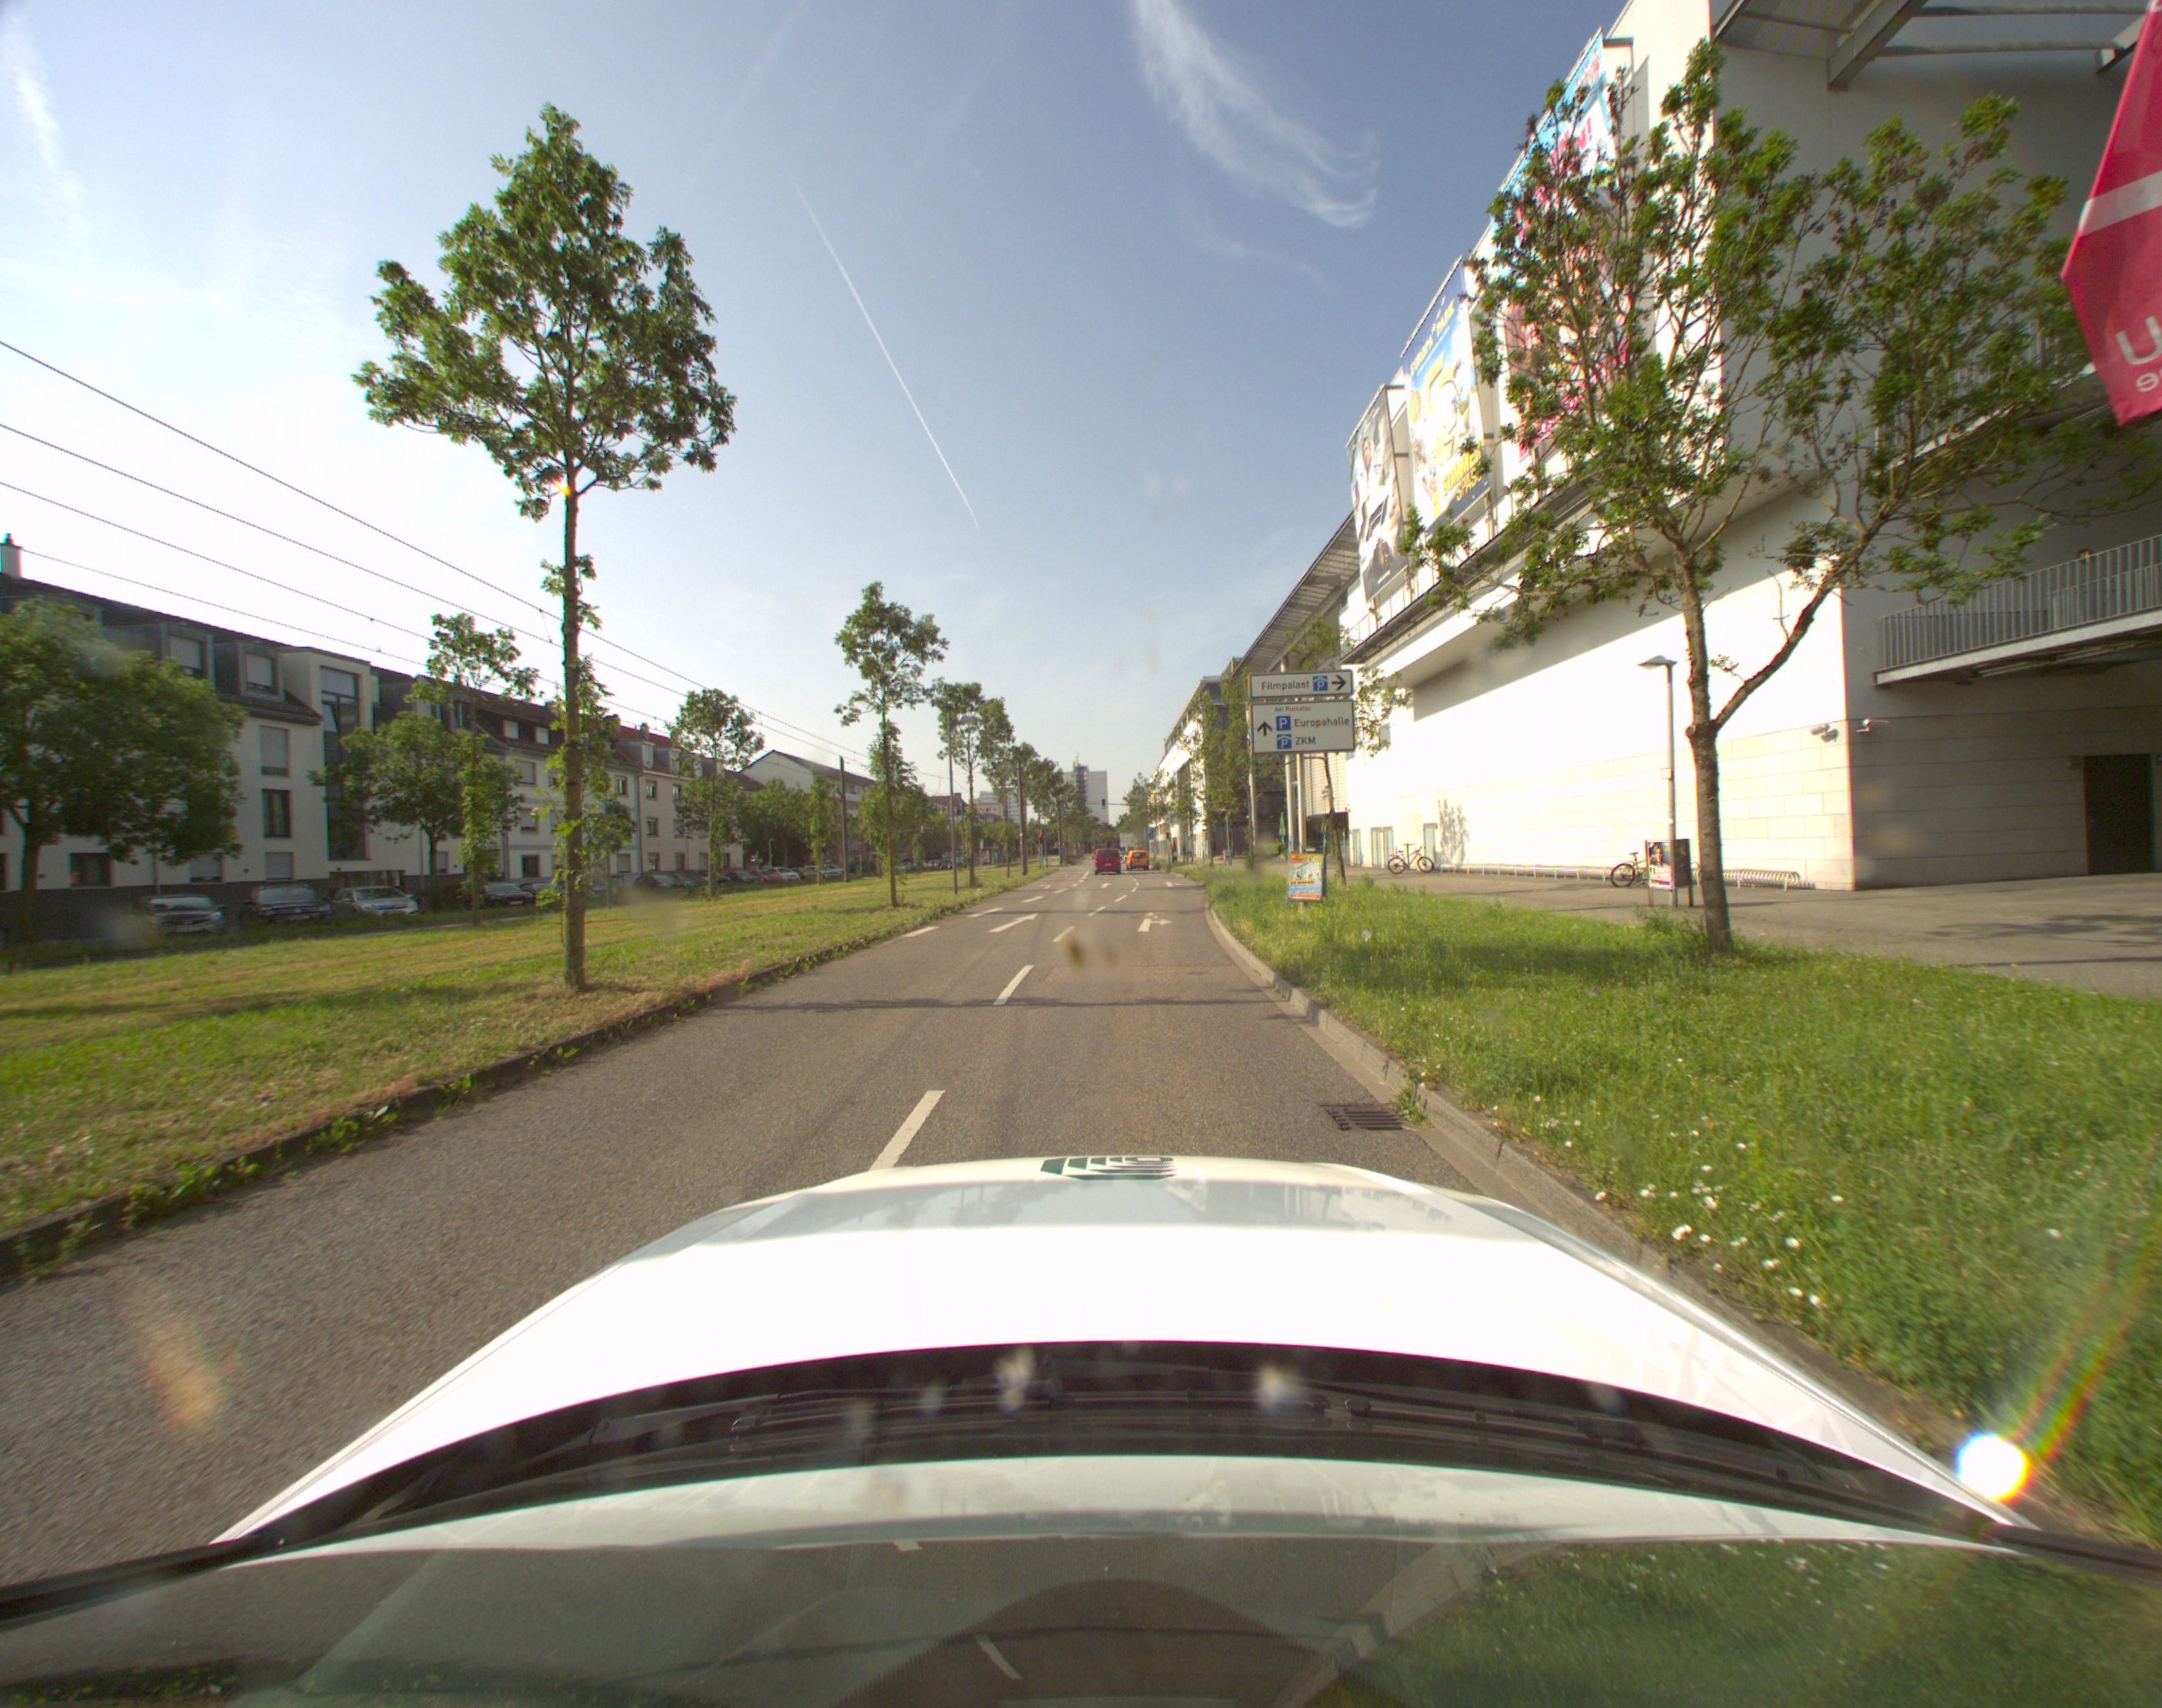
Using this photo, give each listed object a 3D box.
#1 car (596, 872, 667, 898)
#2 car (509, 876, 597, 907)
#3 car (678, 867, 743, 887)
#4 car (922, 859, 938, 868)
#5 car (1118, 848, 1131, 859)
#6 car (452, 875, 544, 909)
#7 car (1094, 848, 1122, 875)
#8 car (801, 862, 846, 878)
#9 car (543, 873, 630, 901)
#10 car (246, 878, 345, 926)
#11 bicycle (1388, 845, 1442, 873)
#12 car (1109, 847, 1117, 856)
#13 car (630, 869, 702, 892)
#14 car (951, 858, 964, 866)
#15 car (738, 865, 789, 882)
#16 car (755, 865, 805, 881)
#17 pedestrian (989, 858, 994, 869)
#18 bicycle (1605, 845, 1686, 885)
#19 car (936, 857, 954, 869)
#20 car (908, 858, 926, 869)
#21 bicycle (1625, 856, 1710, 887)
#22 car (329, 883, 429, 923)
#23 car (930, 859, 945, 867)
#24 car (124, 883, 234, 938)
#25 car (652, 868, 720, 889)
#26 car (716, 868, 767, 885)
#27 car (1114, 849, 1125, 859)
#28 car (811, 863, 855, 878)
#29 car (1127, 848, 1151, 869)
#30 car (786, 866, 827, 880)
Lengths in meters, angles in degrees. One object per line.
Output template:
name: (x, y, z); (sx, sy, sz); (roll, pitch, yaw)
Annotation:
car: (-25.376, 1.742, 46.001); (3.733, 1.376, 1.674); (-1, 0, 27)
car: (-25.815, 1.787, 39.801); (3.949, 1.376, 1.939); (-1, 0, 28)
car: (-25.439, 1.556, 55.950); (4.008, 1.288, 2.012); (-1, 0, 28)
car: (-26.102, 1.606, 140.794); (1.974, 1.360, 4.069); (-1, 0, 1)
car: (6.088, -0.077, 114.304); (1.714, 1.519, 3.781); (-3, 0, 0)
car: (-26.875, 1.744, 37.523); (3.949, 1.376, 1.847); (-2, 0, 28)
car: (1.908, 0.510, 59.094); (1.868, 1.853, 4.000); (-2, 0, 0)
car: (-24.985, 1.563, 78.969); (4.407, 1.514, 2.013); (-1, 0, 38)
car: (-26.517, 1.760, 43.637); (4.285, 1.376, 2.012); (-1, 0, 27)
car: (-26.406, 1.566, 27.346); (3.673, 1.434, 1.652); (-1, 0, 34)
bicycle: (14.287, 0.220, 34.880); (1.998, 1.102, 0.676); (-3, 0, 5)
car: (7.957, -0.678, 204.327); (1.986, 2.013, 4.001); (-3, 0, 1)
car: (-25.831, 1.649, 50.663); (3.950, 1.288, 2.012); (-2, 0, 27)
car: (-25.402, 1.596, 167.269); (1.974, 1.513, 4.281); (-1, 0, 1)
car: (-25.823, 1.571, 66.221); (3.948, 1.258, 1.888); (-1, 0, 34)
car: (-25.646, 1.588, 69.326); (3.948, 1.269, 1.898); (-1, 0, 31)
pedestrian: (-13.211, 1.412, 120.446); (0.670, 1.653, 0.794); (-3, 0, -3)
bicycle: (14.142, 0.277, 20.421); (1.651, 0.915, 0.483); (-3, 0, 1)
car: (-22.248, 1.455, 133.536); (1.986, 1.706, 4.715); (-2, 0, 2)
car: (-26.325, 1.508, 130.852); (1.974, 1.556, 4.537); (-1, 0, 1)
bicycle: (14.147, 0.417, 19.661); (1.651, 0.645, 0.538); (-3, 0, 1)
car: (-26.336, 1.787, 30.502); (4.342, 1.320, 1.745); (-1, 0, 34)
car: (-25.887, 1.603, 147.301); (1.974, 1.360, 4.069); (-1, 0, 1)
car: (-26.969, 1.630, 24.320); (3.948, 1.420, 1.793); (-1, 0, 36)
car: (-25.970, 1.620, 53.539); (3.950, 1.288, 2.012); (-1, 0, 27)
car: (-26.053, 1.687, 62.405); (3.948, 1.235, 1.710); (-1, 0, 34)
car: (6.647, -0.029, 140.601); (1.683, 1.526, 3.852); (-4, 0, 2)
car: (-25.155, 1.651, 82.609); (4.297, 1.463, 1.976); (-1, 0, 34)
car: (5.001, 0.382, 70.199); (1.868, 1.696, 3.975); (-2, 0, 2)
car: (-25.777, 1.762, 76.471); (3.949, 1.178, 2.012); (-1, 0, 42)
